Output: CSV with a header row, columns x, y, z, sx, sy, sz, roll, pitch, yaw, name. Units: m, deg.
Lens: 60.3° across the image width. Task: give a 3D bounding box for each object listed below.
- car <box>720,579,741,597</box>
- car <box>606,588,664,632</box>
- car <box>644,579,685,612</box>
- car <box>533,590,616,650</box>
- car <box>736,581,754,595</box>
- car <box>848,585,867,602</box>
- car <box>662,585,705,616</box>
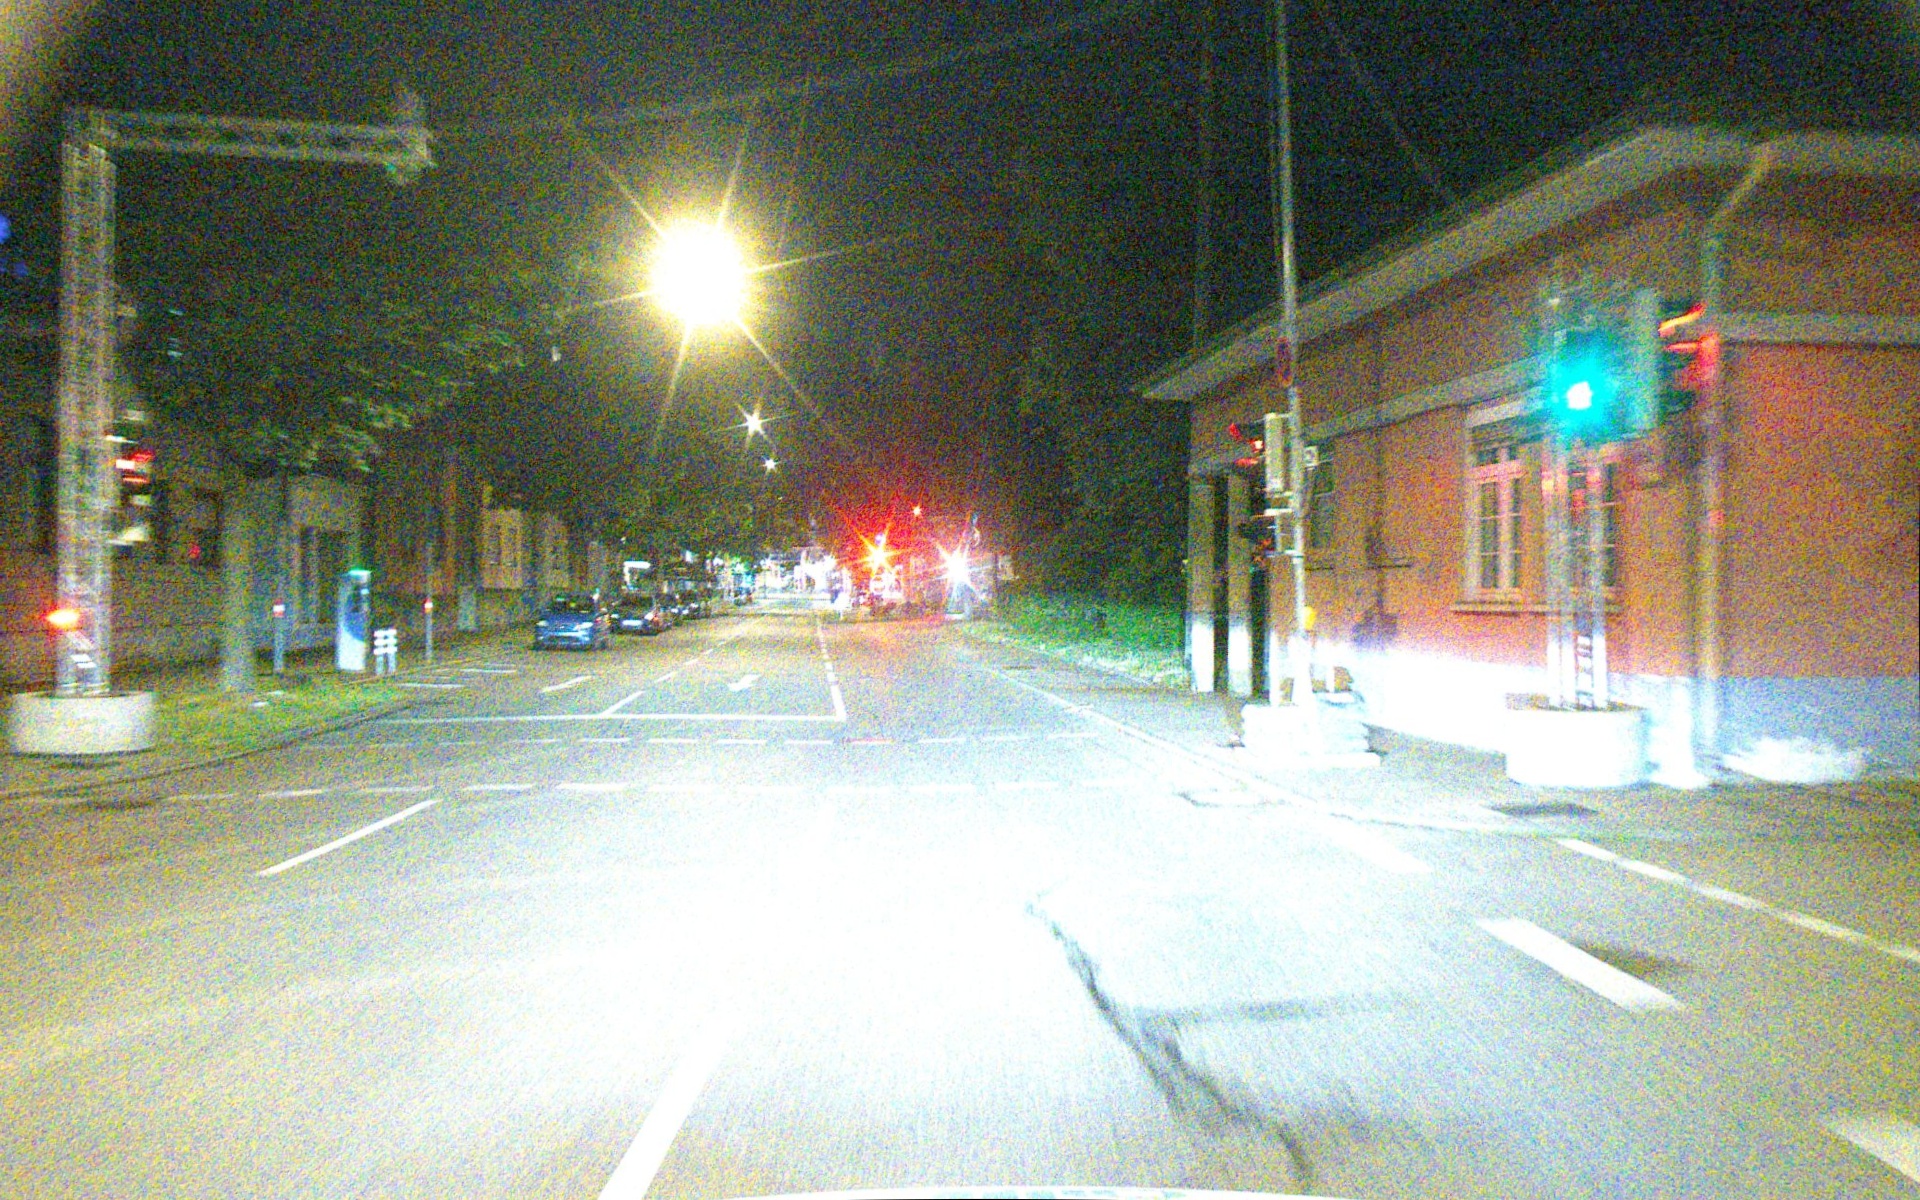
x,y,z,sx,sy,sz,roll,pitch,yaw,name
-19.785,-1.057,142.720,1.619,1.456,3.996,-1,1,-5,car
-11.918,0.346,60.906,1.734,1.511,4.760,-1,1,-7,car
-13.245,-0.210,74.262,1.592,1.407,4.444,-1,1,-8,car
-10.383,0.506,44.781,1.681,1.520,3.985,0,1,-6,car
-21.978,-1.243,169.238,1.619,1.456,3.996,-1,1,-5,car
-9.078,-0.608,146.372,1.619,1.456,3.997,-1,1,-4,car
-14.520,-0.007,87.165,1.862,1.497,4.448,1,1,-5,car
